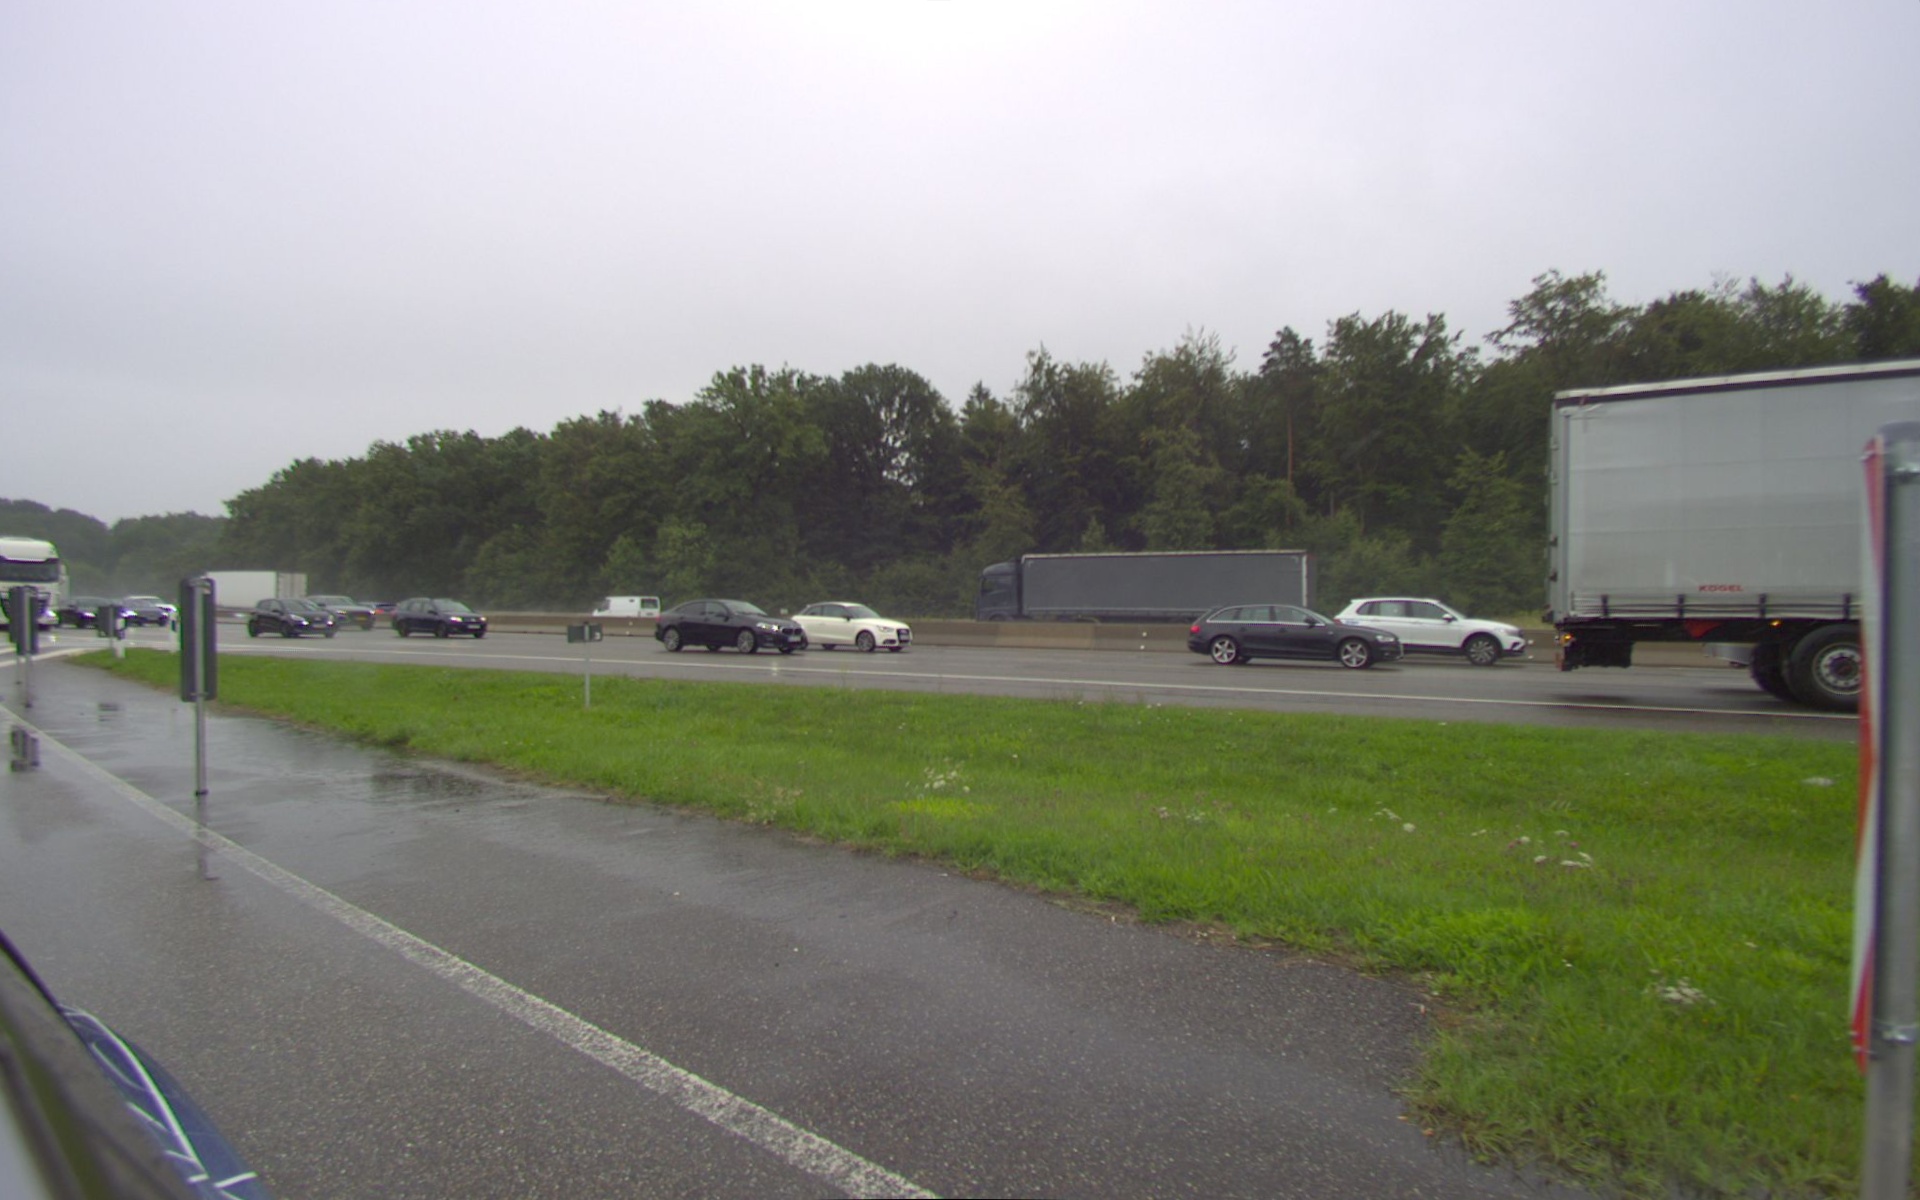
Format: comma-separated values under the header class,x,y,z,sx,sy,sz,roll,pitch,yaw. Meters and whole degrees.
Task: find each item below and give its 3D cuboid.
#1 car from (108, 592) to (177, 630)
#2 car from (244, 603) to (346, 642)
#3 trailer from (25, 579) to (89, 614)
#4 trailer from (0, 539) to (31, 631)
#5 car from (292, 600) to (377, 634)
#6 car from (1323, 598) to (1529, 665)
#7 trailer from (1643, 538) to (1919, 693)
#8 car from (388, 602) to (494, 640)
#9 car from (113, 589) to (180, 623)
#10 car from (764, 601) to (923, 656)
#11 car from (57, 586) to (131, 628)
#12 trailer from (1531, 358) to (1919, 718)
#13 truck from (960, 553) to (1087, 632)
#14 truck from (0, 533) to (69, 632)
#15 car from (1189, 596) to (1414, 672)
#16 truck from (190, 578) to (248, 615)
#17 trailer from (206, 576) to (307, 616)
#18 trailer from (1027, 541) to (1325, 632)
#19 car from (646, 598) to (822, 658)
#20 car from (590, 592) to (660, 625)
class,x,y,z,sx,sy,sz,roll,pitch,yaw
car,-44.151,0.585,54.637,3.990,2.029,1.841,0,-1,35
car,-24.871,0.841,37.806,3.989,1.383,1.803,0,-1,34
trailer,-111.908,-0.507,125.413,9.130,4.076,3.070,1,4,30
trailer,-47.127,-0.648,47.001,11.000,4.057,2.742,0,-2,31
car,-31.425,0.851,50.815,4.388,1.681,1.805,0,-2,31
car,11.653,0.759,25.391,4.512,1.552,1.979,0,-2,31
trailer,13.582,0.255,15.357,5.159,2.172,2.114,0,-2,30
car,-20.398,0.827,39.739,4.108,1.425,1.805,-1,-2,31
car,-49.951,0.373,62.155,3.985,2.029,1.979,-1,-1,31
car,-3.480,0.793,29.908,4.486,1.492,1.866,0,-1,31
car,-41.283,0.317,48.221,3.990,1.918,1.746,-1,0,35
trailer,14.235,-0.653,10.881,14.059,4.013,2.875,0,-2,30
truck,3.215,-0.358,51.088,5.621,3.775,3.021,-1,1,30
truck,-41.463,-0.671,43.629,6.483,4.039,2.730,-1,-1,31
car,7.670,0.713,22.843,4.512,1.552,1.979,0,-1,31
truck,-70.781,-0.287,96.649,5.583,3.478,2.626,0,-1,32
trailer,-64.554,-0.328,92.664,13.443,3.524,2.628,0,-1,33
trailer,9.799,-0.481,47.359,13.353,3.840,3.007,-1,1,30
car,-6.073,0.715,27.090,4.481,1.492,1.868,0,-1,28
car,-22.076,0.496,66.630,4.467,2.028,1.979,1,2,31
